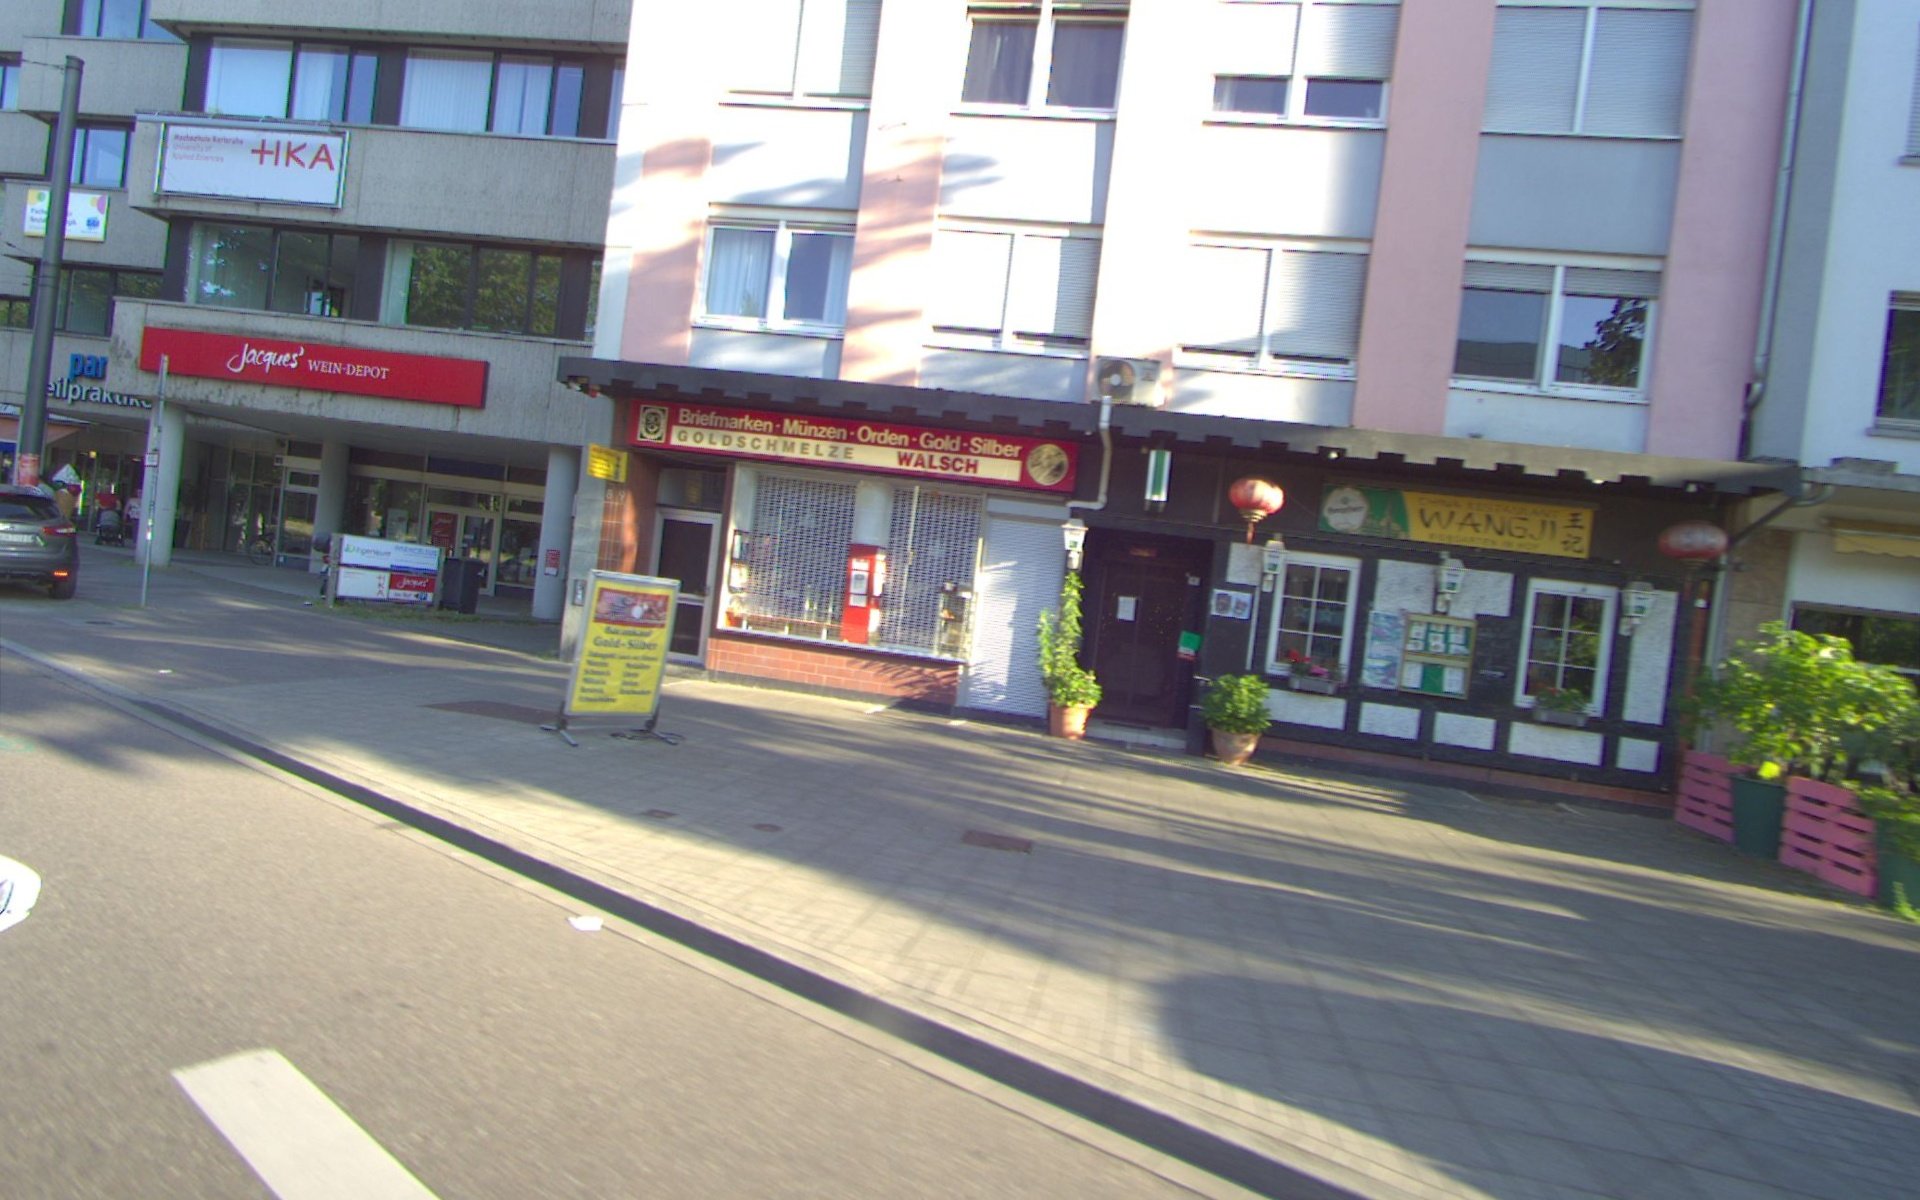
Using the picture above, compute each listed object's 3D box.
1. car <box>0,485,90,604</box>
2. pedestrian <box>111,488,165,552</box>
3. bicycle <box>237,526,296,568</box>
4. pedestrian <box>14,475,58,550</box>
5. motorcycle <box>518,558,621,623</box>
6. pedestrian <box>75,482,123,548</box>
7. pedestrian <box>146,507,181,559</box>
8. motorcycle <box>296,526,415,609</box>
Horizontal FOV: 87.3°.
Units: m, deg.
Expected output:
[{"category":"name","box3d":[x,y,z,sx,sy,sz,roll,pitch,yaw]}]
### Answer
[{"category":"car","box3d":[-14.830,-0.960,15.011,4.167,1.577,1.781,7,2,35]},{"category":"pedestrian","box3d":[-23.712,-2.303,29.028,0.631,1.695,0.989,7,2,35]},{"category":"bicycle","box3d":[-19.486,-1.482,28.294,0.475,1.086,1.756,6,1,-5]},{"category":"pedestrian","box3d":[-22.952,-2.167,24.990,0.651,1.764,0.622,7,3,35]},{"category":"motorcycle","box3d":[-8.637,-0.190,22.313,0.523,1.219,2.010,7,0,42]},{"category":"pedestrian","box3d":[-24.303,-2.401,28.394,1.016,1.749,0.697,7,2,35]},{"category":"pedestrian","box3d":[-27.215,-2.271,34.383,0.511,1.669,0.599,7,0,10]},{"category":"motorcycle","box3d":[-10.906,-0.560,18.229,0.572,1.349,1.787,7,2,22]}]
